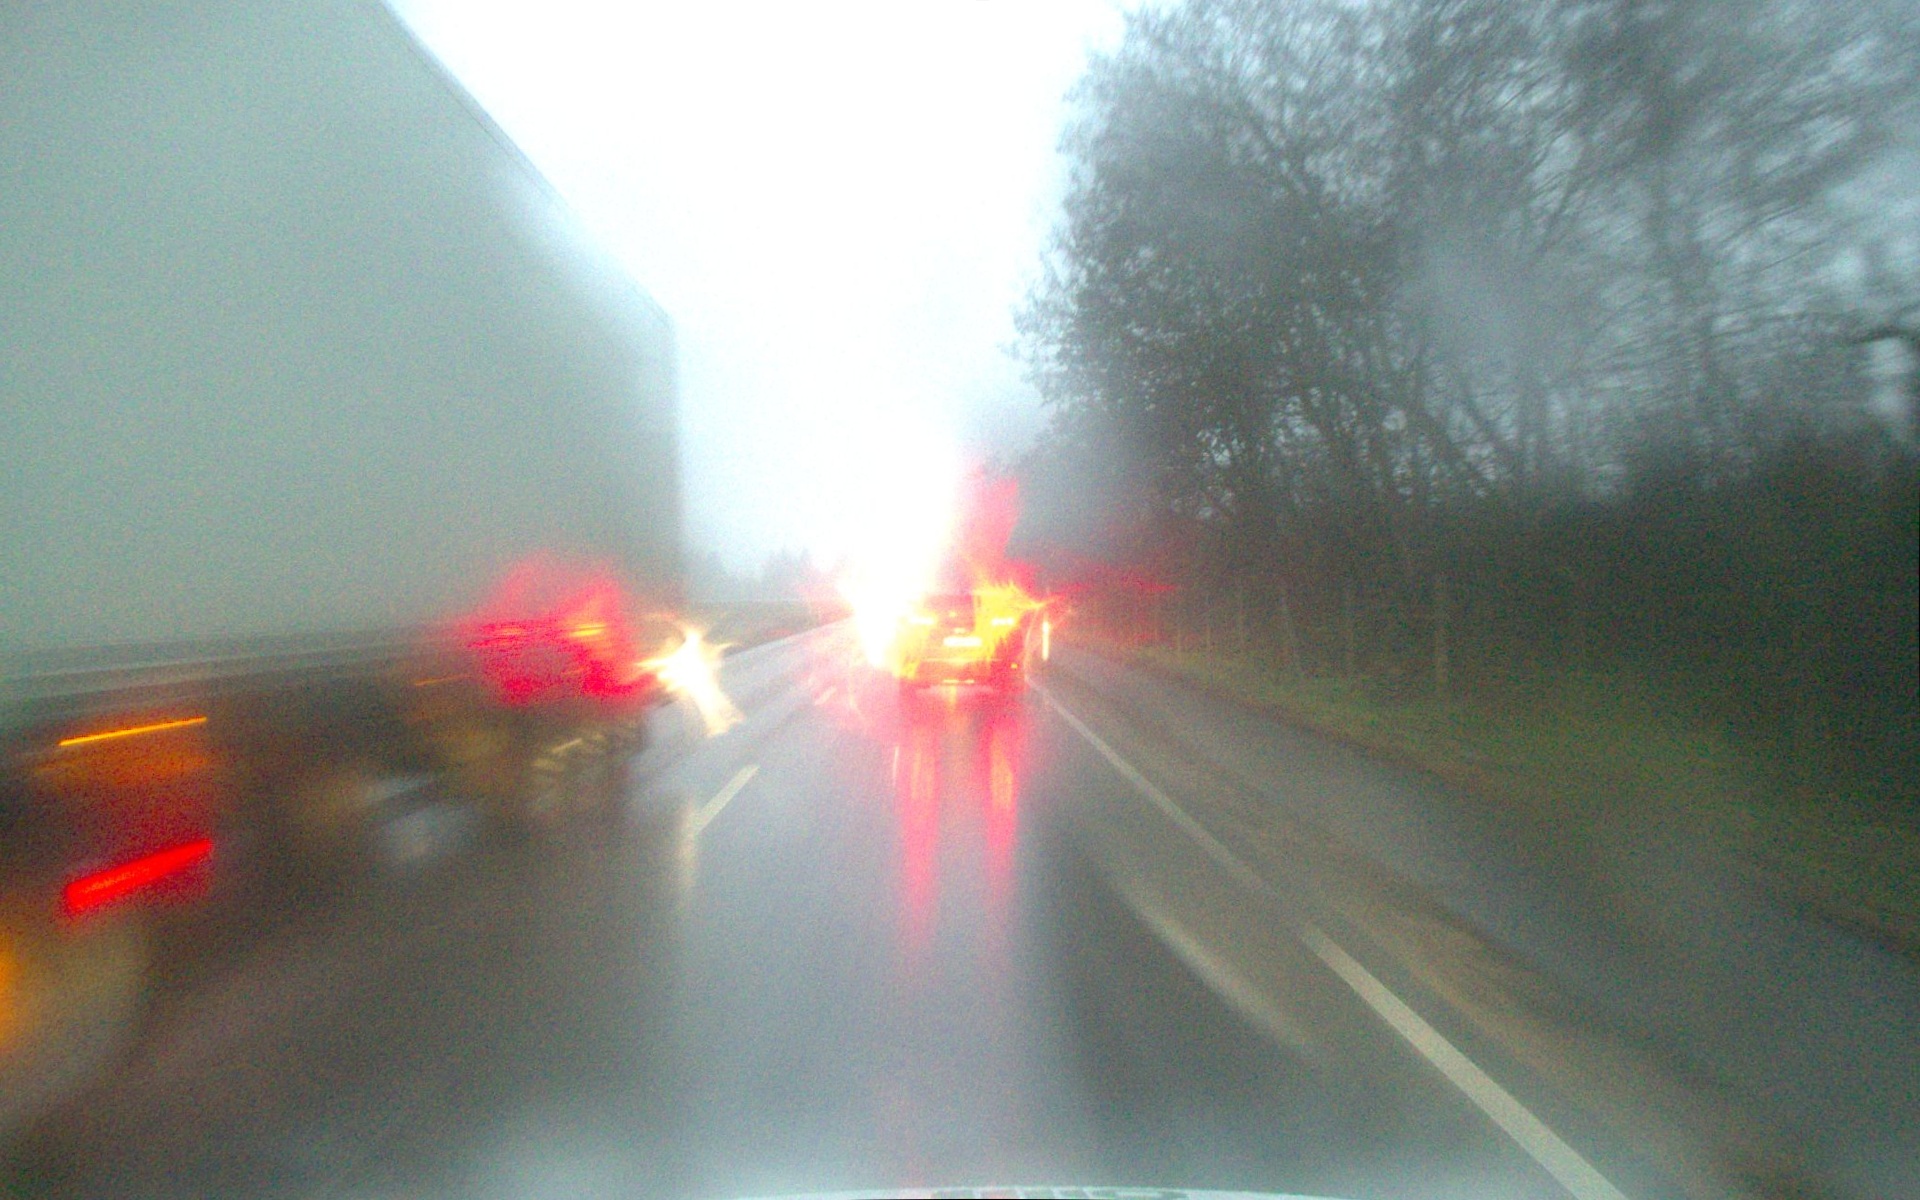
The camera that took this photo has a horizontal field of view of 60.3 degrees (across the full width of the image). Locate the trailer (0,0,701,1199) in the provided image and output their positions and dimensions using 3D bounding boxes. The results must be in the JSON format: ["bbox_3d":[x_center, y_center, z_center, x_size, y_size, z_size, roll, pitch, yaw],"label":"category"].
[{"bbox_3d":[-3.666,-0.601,9.406,2.647,4.151,12.378,-1,0,-1],"label":"trailer"}]

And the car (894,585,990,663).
[{"bbox_3d":[-0.498,0.651,47.353,2.539,2.049,5.803,1,0,0],"label":"car"}]

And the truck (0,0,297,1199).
[{"bbox_3d":[-3.513,-0.553,2.166,2.670,4.177,6.586,-1,0,-1],"label":"truck"}]

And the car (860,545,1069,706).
[{"bbox_3d":[0.041,0.348,24.994,2.763,2.113,5.803,1,0,0],"label":"car"}]
